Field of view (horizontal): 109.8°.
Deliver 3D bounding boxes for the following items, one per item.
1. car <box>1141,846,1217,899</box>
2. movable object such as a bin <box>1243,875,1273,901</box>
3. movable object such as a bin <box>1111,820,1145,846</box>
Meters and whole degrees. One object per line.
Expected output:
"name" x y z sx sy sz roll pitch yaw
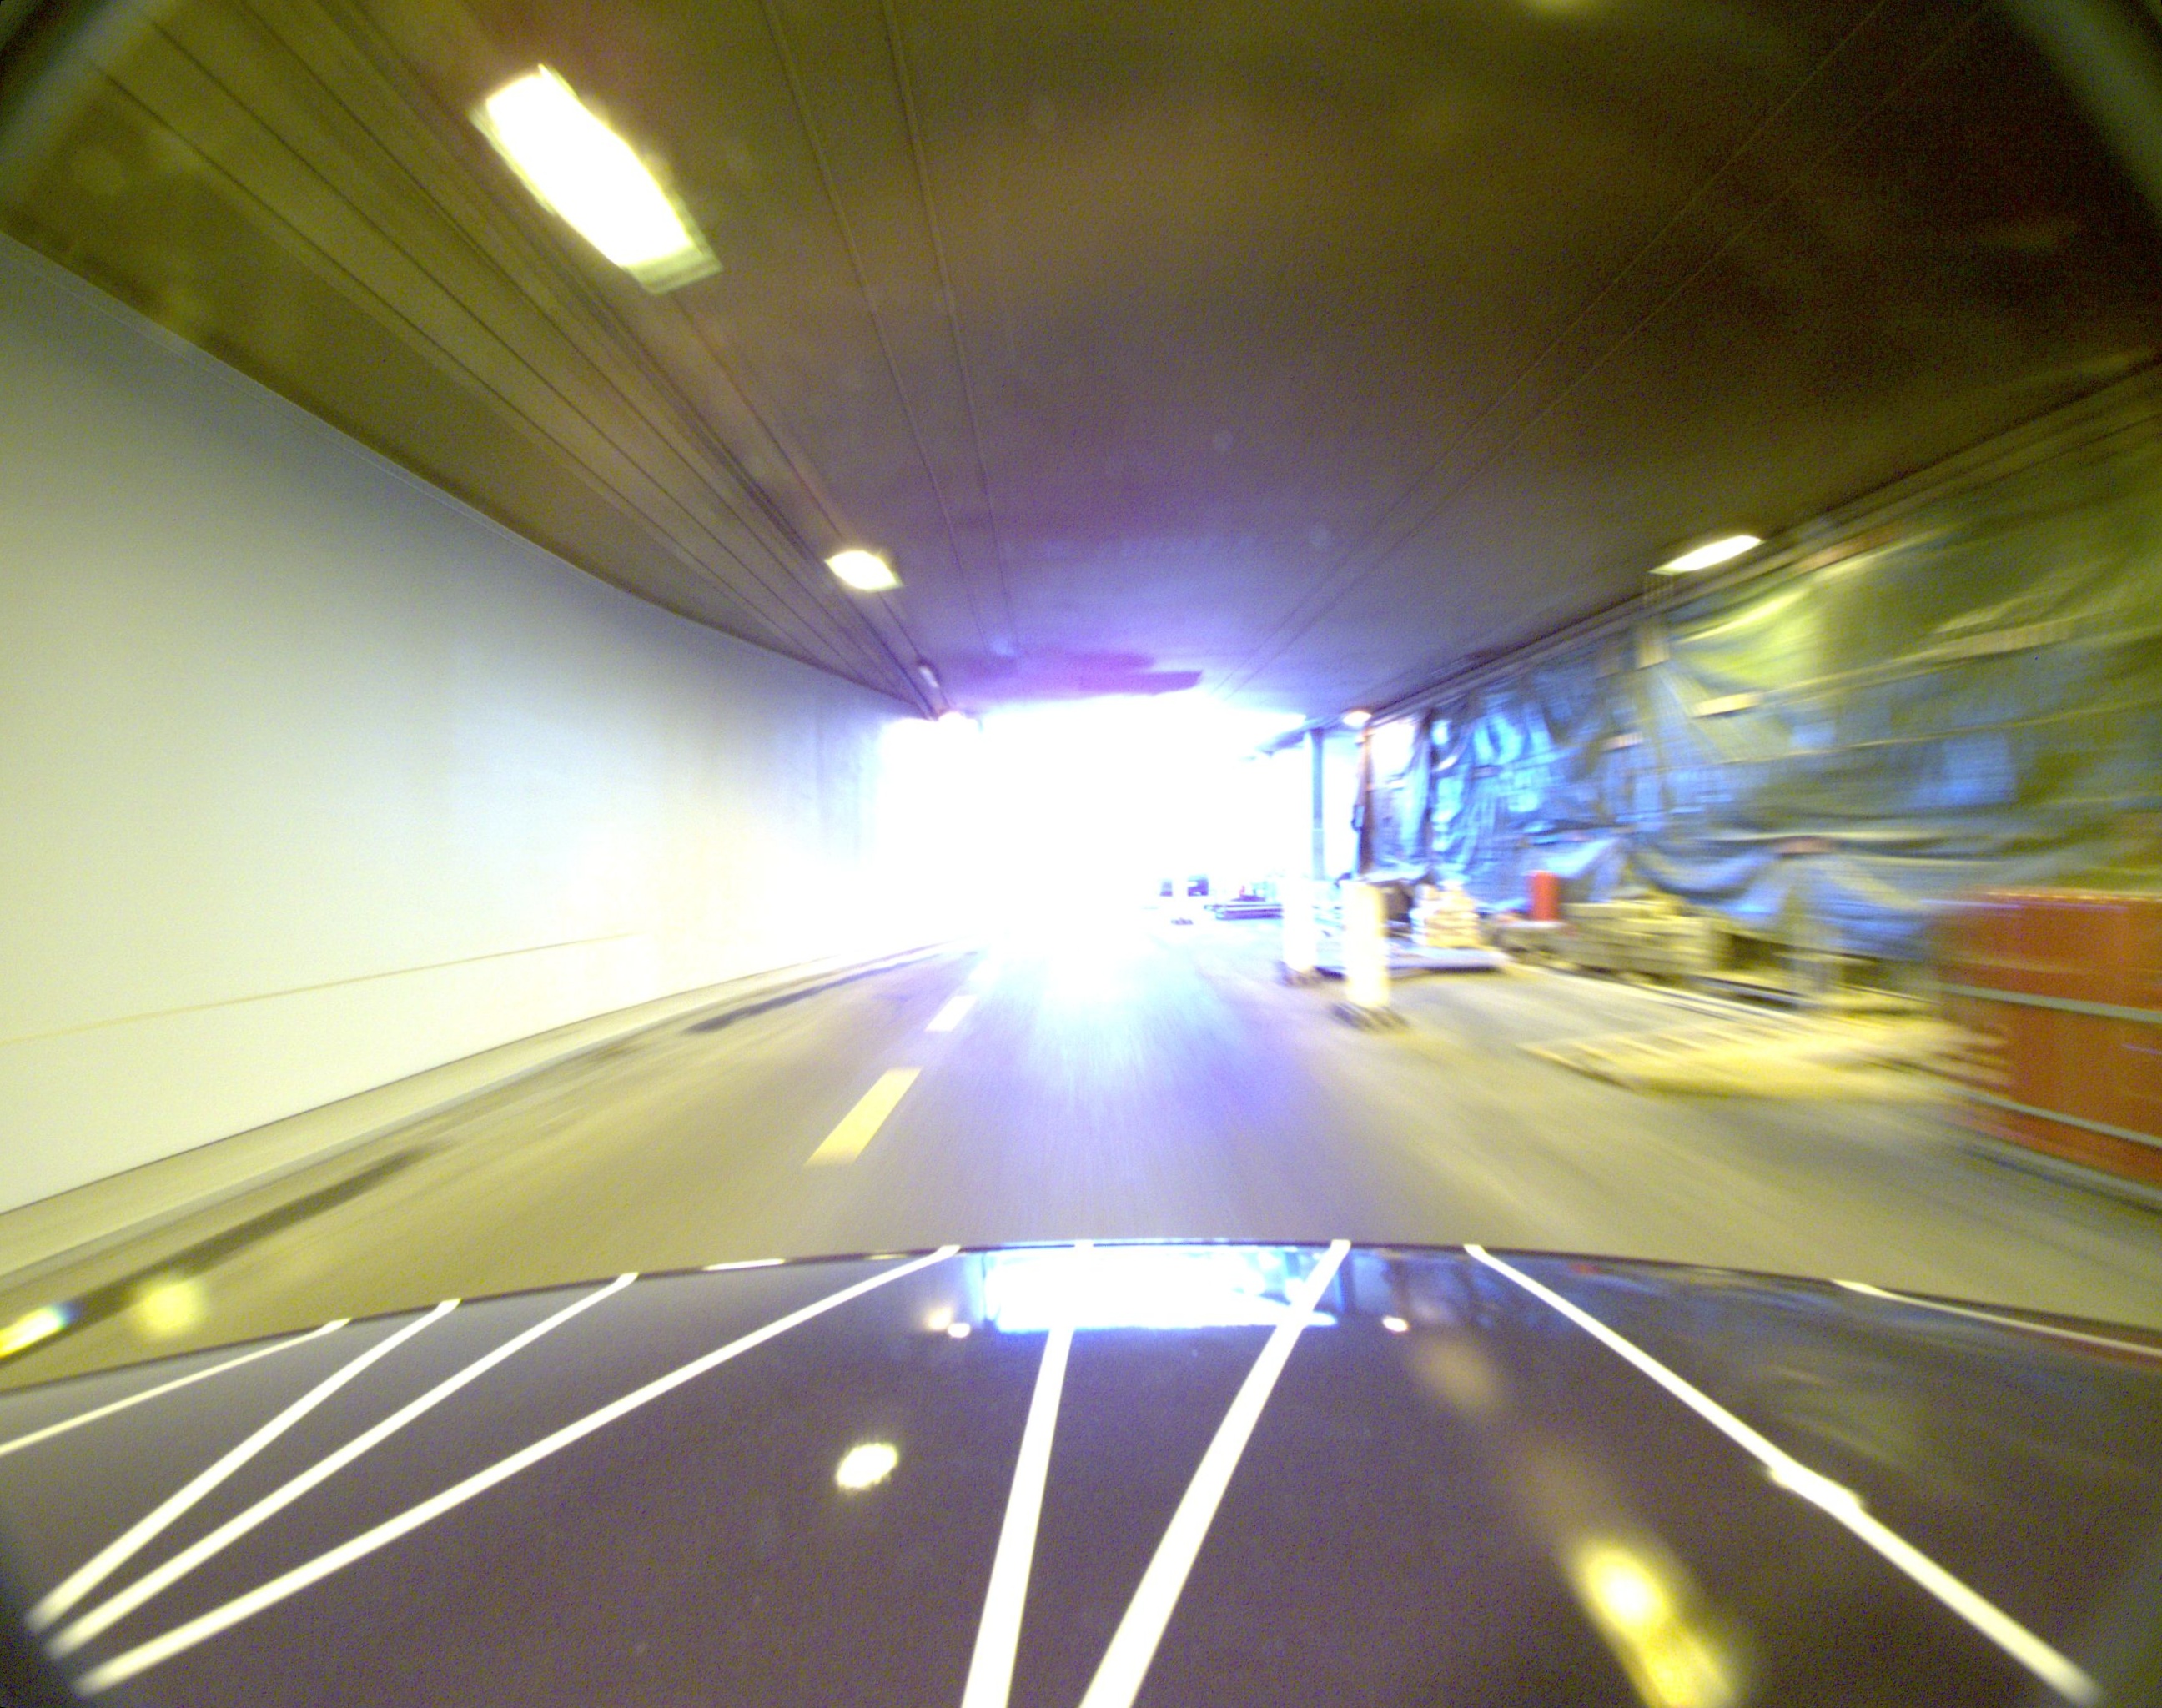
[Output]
"car" 3.521 0.605 28.061 1.853 1.765 4.431 -1 1 -5
"movable object such as a bin" 5.575 1.077 23.971 0.653 0.737 1.031 -1 2 -6
"movable object such as a bin" 3.737 -1.701 60.799 1.892 1.976 3.153 -2 3 -13
